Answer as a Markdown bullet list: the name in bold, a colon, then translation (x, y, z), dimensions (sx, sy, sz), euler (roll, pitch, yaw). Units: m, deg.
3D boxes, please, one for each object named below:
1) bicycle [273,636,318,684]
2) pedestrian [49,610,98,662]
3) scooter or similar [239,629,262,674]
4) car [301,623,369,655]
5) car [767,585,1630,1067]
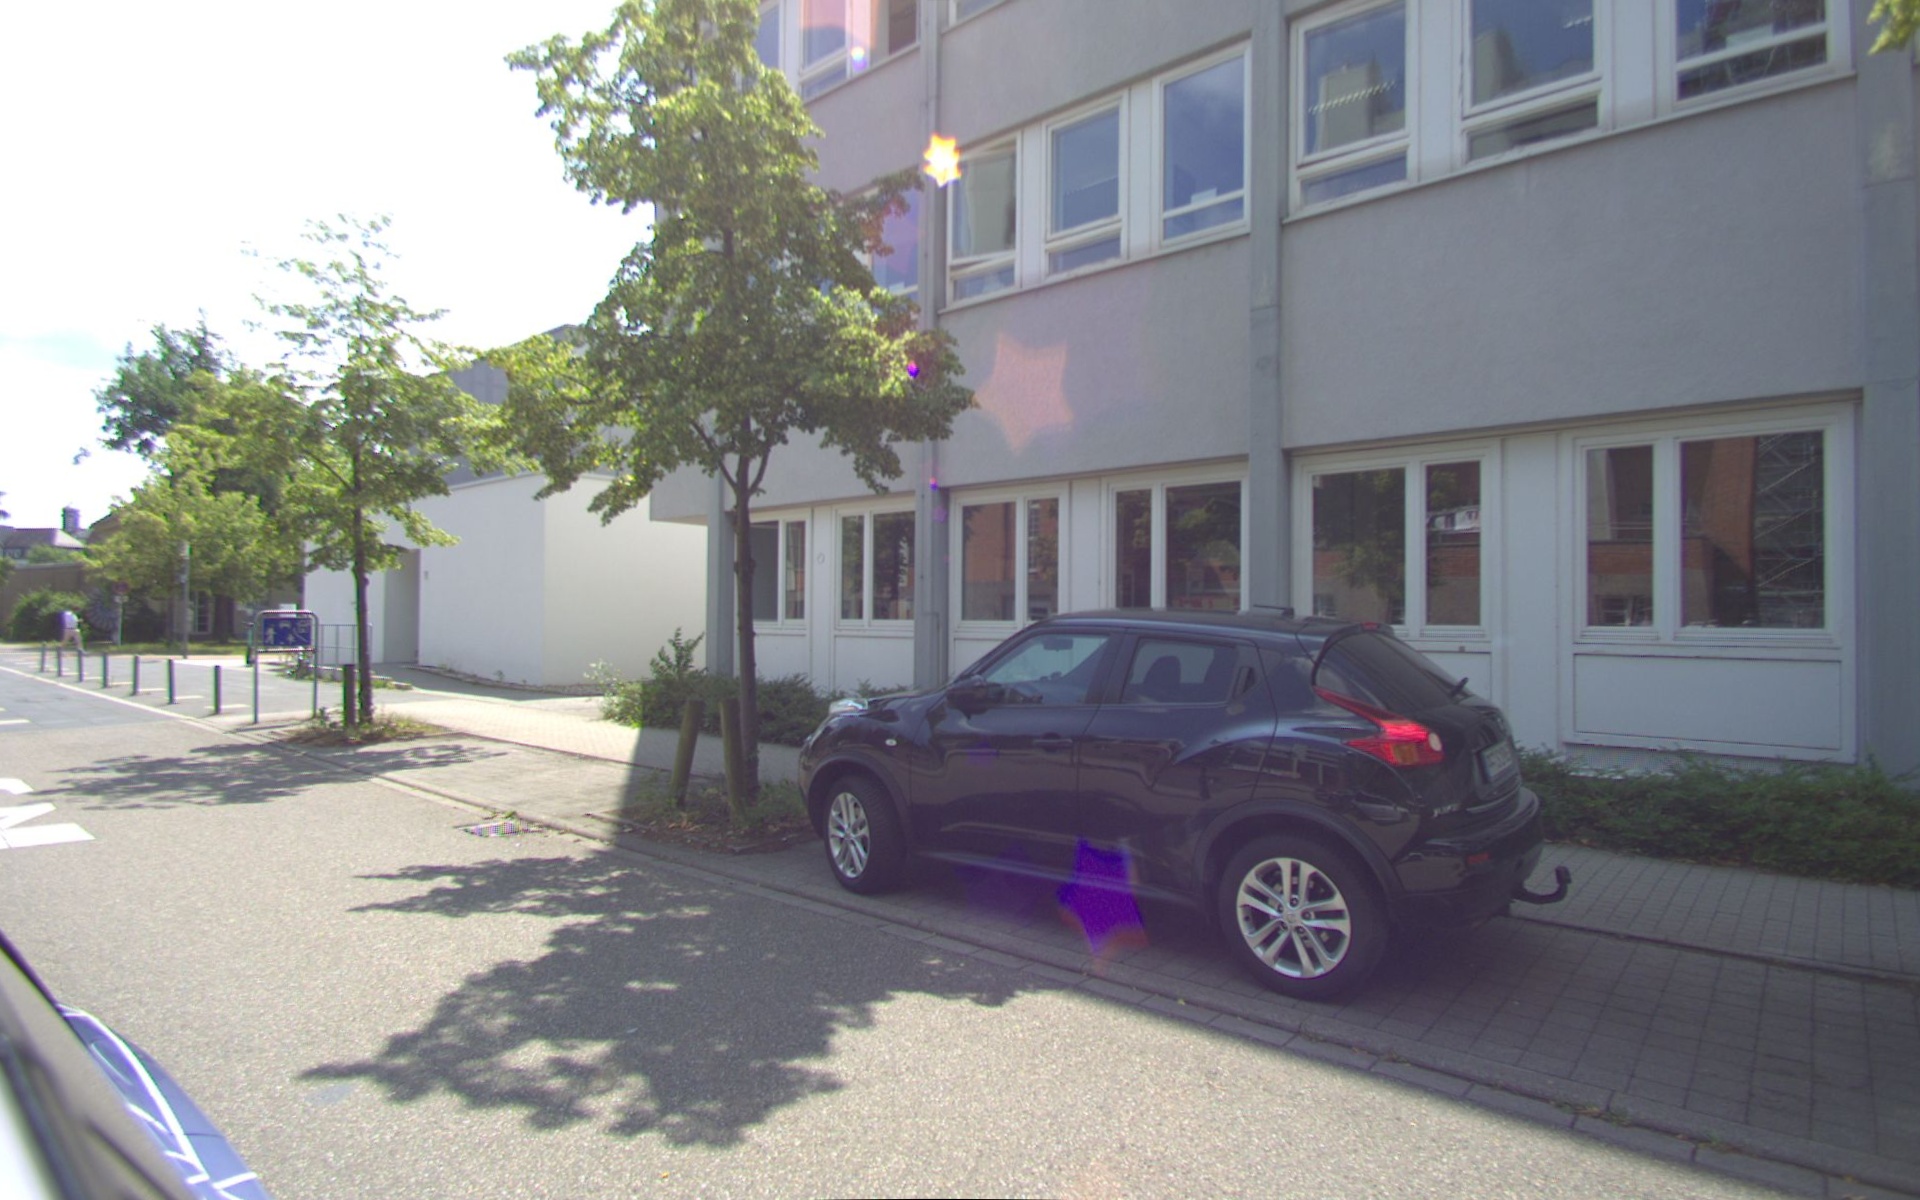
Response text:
- **bicycle**: translation (-15.769, 1.407, 23.996), dimensions (0.537, 1.069, 1.900), euler (2, -2, -44)
- **pedestrian**: translation (-32.565, 1.326, 37.191), dimensions (1.007, 1.862, 0.919), euler (2, -3, -19)
- **scooter or similar**: translation (-20.534, 1.475, 29.271), dimensions (0.476, 1.272, 1.316), euler (1, -2, -37)
- **car**: translation (-35.190, 2.174, 56.936), dimensions (4.647, 1.593, 1.875), euler (0, -1, 40)
- **car**: translation (0.972, 0.787, 5.280), dimensions (4.064, 1.576, 1.680), euler (-1, -2, 39)
